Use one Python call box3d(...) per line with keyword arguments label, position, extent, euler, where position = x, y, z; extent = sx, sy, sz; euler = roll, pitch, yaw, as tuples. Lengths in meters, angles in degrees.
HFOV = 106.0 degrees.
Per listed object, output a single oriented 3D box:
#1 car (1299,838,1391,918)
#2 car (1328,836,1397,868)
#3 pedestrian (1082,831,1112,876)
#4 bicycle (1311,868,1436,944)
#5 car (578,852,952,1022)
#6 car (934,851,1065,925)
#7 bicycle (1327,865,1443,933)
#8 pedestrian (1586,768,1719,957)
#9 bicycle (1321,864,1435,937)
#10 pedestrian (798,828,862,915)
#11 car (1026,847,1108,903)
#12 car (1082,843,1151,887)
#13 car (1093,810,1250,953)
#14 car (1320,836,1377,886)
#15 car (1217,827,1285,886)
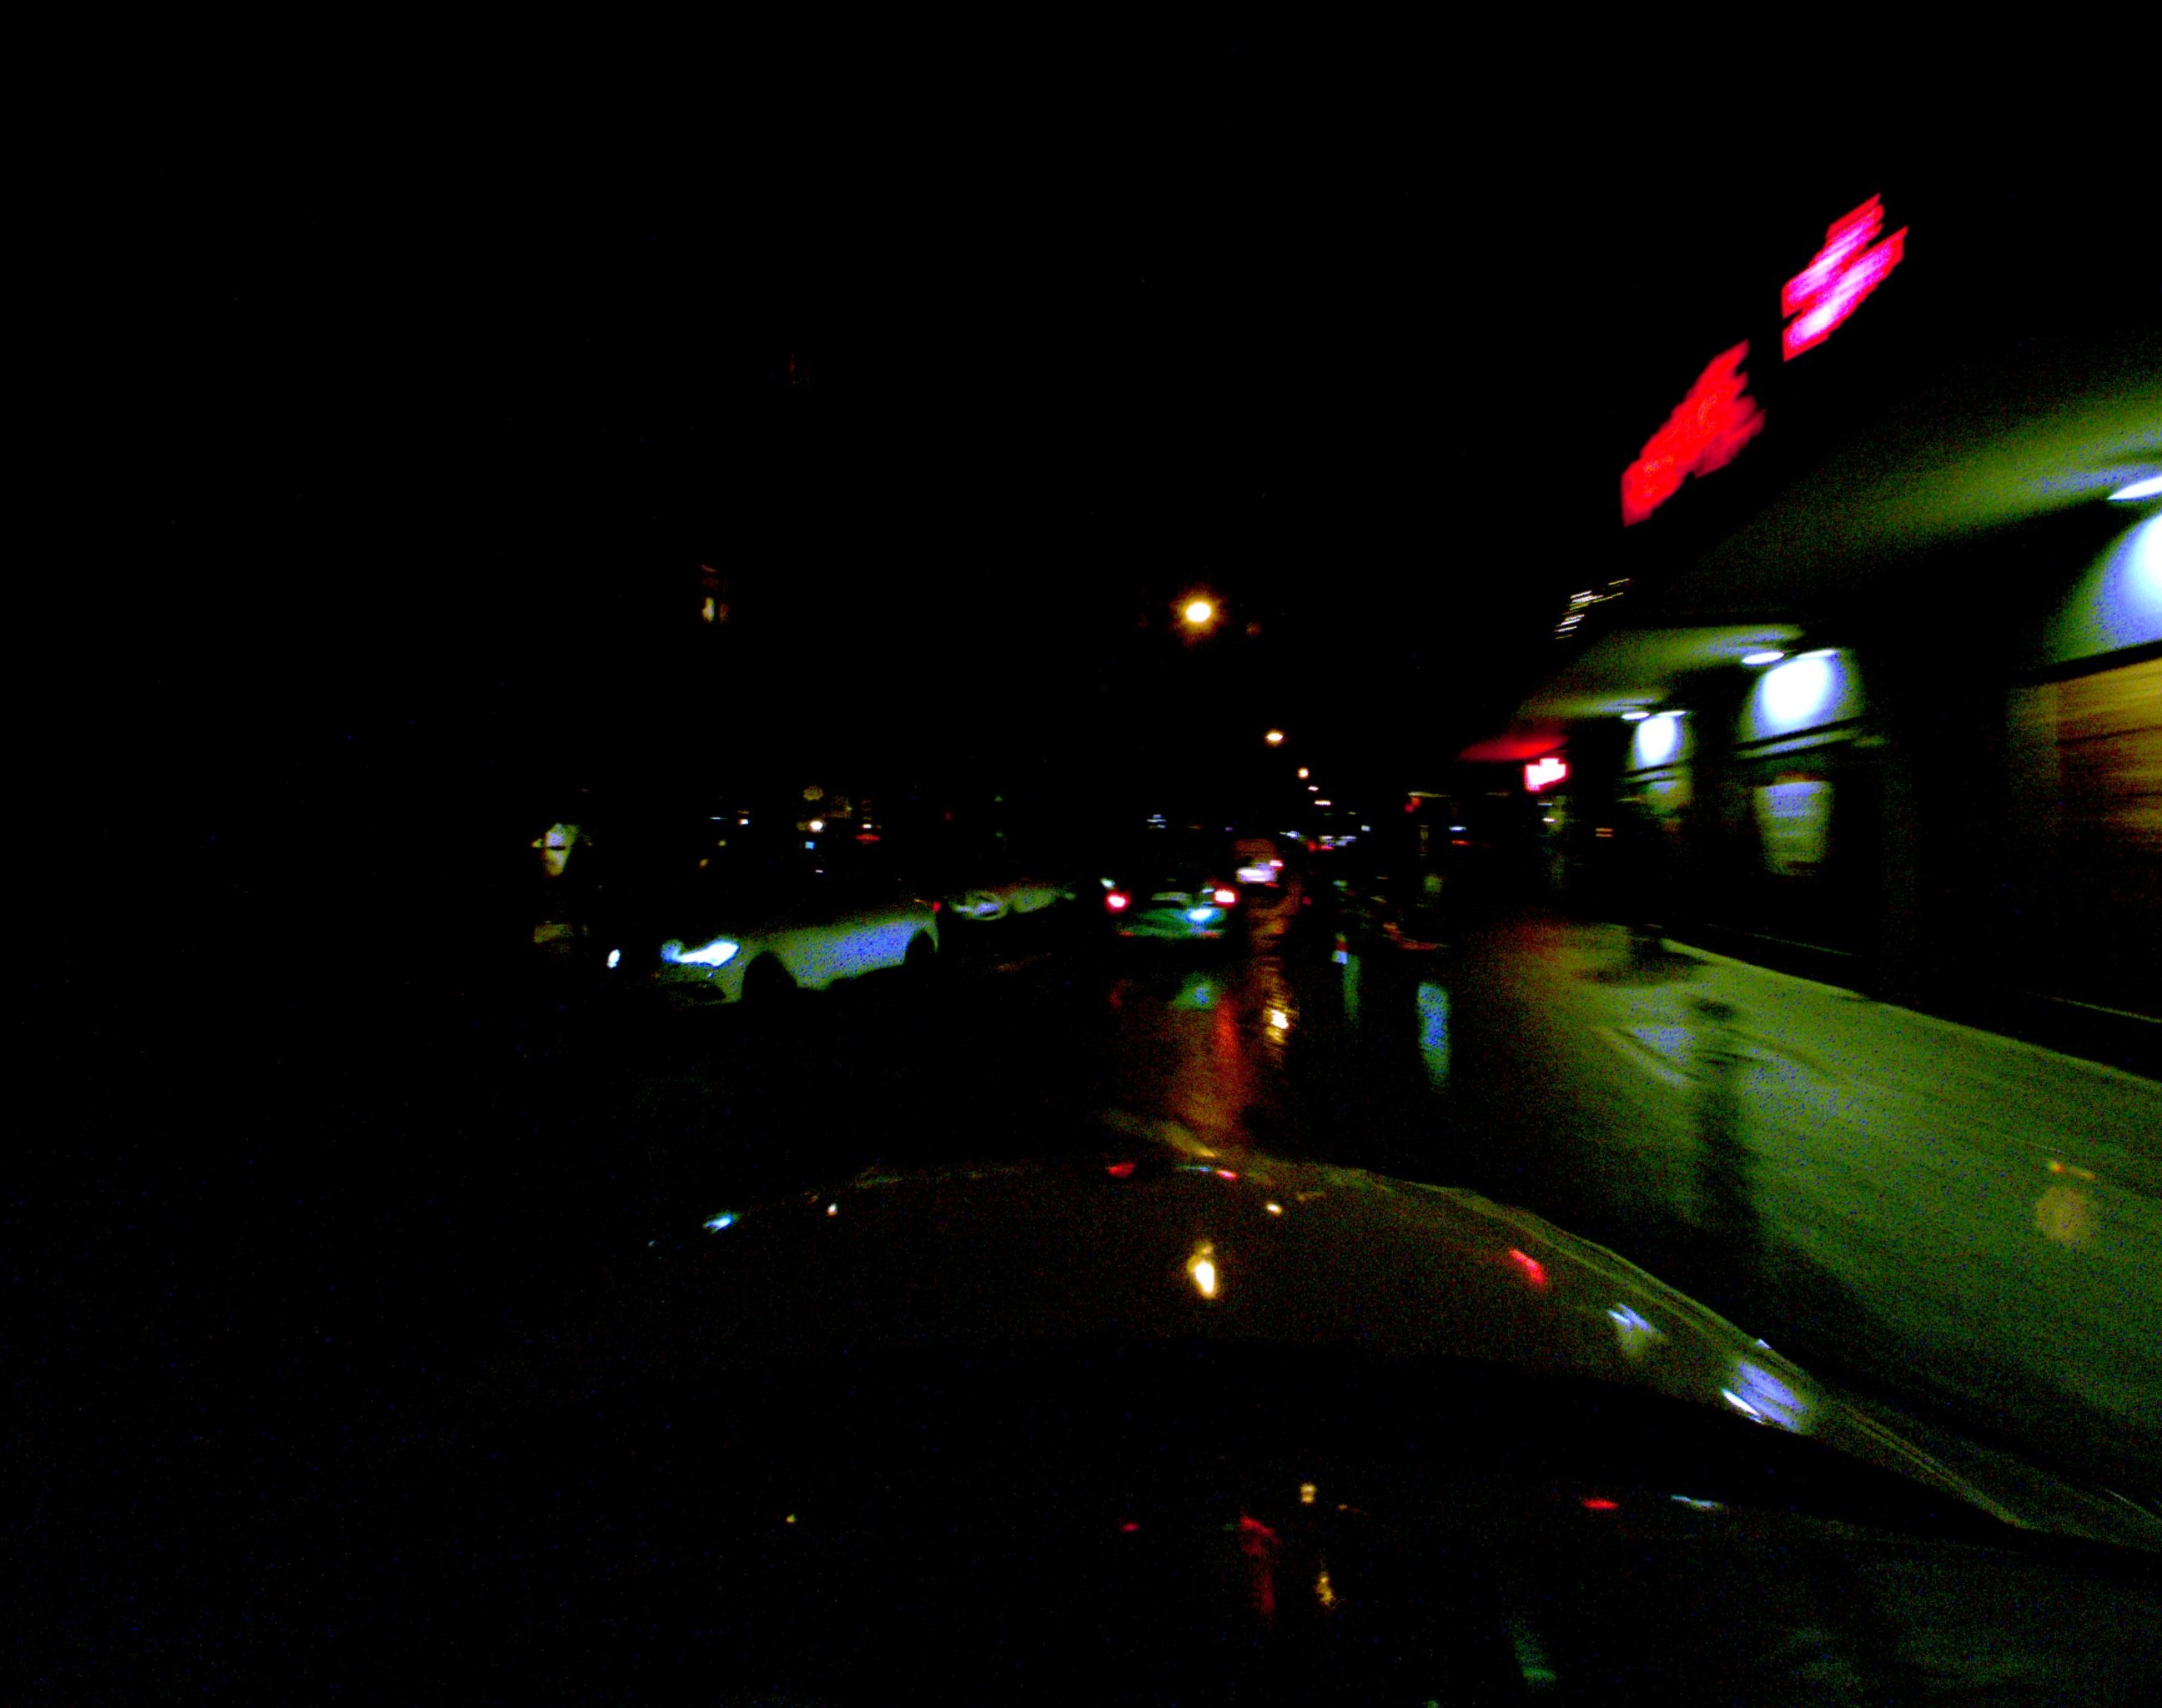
box3d(label="car", position=(5.848, 0.454, 18.178), extent=(1.739, 1.565, 4.173), euler=(0, 0, 17))
box3d(label="car", position=(19.187, -0.132, 55.640), extent=(3.972, 2.014, 2.001), euler=(-1, -1, 2))
box3d(label="pedestrian", position=(0.695, -0.045, 34.667), extent=(1.023, 1.864, 0.981), euler=(1, 1, 17))
box3d(label="bicycle", position=(4.501, 0.804, 12.627), extent=(1.769, 1.125, 0.437), euler=(-2, 1, 16))
box3d(label="car", position=(-3.312, 0.765, 9.470), extent=(1.549, 1.427, 4.092), euler=(-2, 1, 24))
box3d(label="car", position=(-1.847, 0.719, 19.773), extent=(1.573, 1.463, 4.044), euler=(2, 2, 19))
box3d(label="bicycle", position=(4.987, 0.738, 13.461), extent=(1.748, 1.079, 0.437), euler=(-1, 1, 16))
box3d(label="pedestrian", position=(7.081, 0.114, 10.163), extent=(1.045, 2.208, 0.974), euler=(-2, 0, 18))
box3d(label="bicycle", position=(5.108, 0.802, 14.111), extent=(1.748, 1.125, 0.437), euler=(-5, 0, 16))
box3d(label="pedestrian", position=(-5.232, 0.343, 17.028), extent=(0.796, 1.766, 1.021), euler=(1, 1, 24))
box3d(label="car", position=(-0.376, 0.572, 24.309), extent=(1.573, 1.509, 2.801), euler=(0, 1, 19))
box3d(label="car", position=(1.358, 0.357, 29.593), extent=(1.573, 1.448, 3.520), euler=(0, 1, 19))
box3d(label="car", position=(1.740, 0.353, 13.853), extent=(2.108, 1.991, 4.618), euler=(-1, 1, 13))
box3d(label="car", position=(9.240, 0.225, 28.259), extent=(1.739, 1.608, 4.007), euler=(0, 0, 17))
box3d(label="car", position=(6.205, 0.031, 29.380), extent=(2.107, 1.922, 4.846), euler=(0, 1, 15))
